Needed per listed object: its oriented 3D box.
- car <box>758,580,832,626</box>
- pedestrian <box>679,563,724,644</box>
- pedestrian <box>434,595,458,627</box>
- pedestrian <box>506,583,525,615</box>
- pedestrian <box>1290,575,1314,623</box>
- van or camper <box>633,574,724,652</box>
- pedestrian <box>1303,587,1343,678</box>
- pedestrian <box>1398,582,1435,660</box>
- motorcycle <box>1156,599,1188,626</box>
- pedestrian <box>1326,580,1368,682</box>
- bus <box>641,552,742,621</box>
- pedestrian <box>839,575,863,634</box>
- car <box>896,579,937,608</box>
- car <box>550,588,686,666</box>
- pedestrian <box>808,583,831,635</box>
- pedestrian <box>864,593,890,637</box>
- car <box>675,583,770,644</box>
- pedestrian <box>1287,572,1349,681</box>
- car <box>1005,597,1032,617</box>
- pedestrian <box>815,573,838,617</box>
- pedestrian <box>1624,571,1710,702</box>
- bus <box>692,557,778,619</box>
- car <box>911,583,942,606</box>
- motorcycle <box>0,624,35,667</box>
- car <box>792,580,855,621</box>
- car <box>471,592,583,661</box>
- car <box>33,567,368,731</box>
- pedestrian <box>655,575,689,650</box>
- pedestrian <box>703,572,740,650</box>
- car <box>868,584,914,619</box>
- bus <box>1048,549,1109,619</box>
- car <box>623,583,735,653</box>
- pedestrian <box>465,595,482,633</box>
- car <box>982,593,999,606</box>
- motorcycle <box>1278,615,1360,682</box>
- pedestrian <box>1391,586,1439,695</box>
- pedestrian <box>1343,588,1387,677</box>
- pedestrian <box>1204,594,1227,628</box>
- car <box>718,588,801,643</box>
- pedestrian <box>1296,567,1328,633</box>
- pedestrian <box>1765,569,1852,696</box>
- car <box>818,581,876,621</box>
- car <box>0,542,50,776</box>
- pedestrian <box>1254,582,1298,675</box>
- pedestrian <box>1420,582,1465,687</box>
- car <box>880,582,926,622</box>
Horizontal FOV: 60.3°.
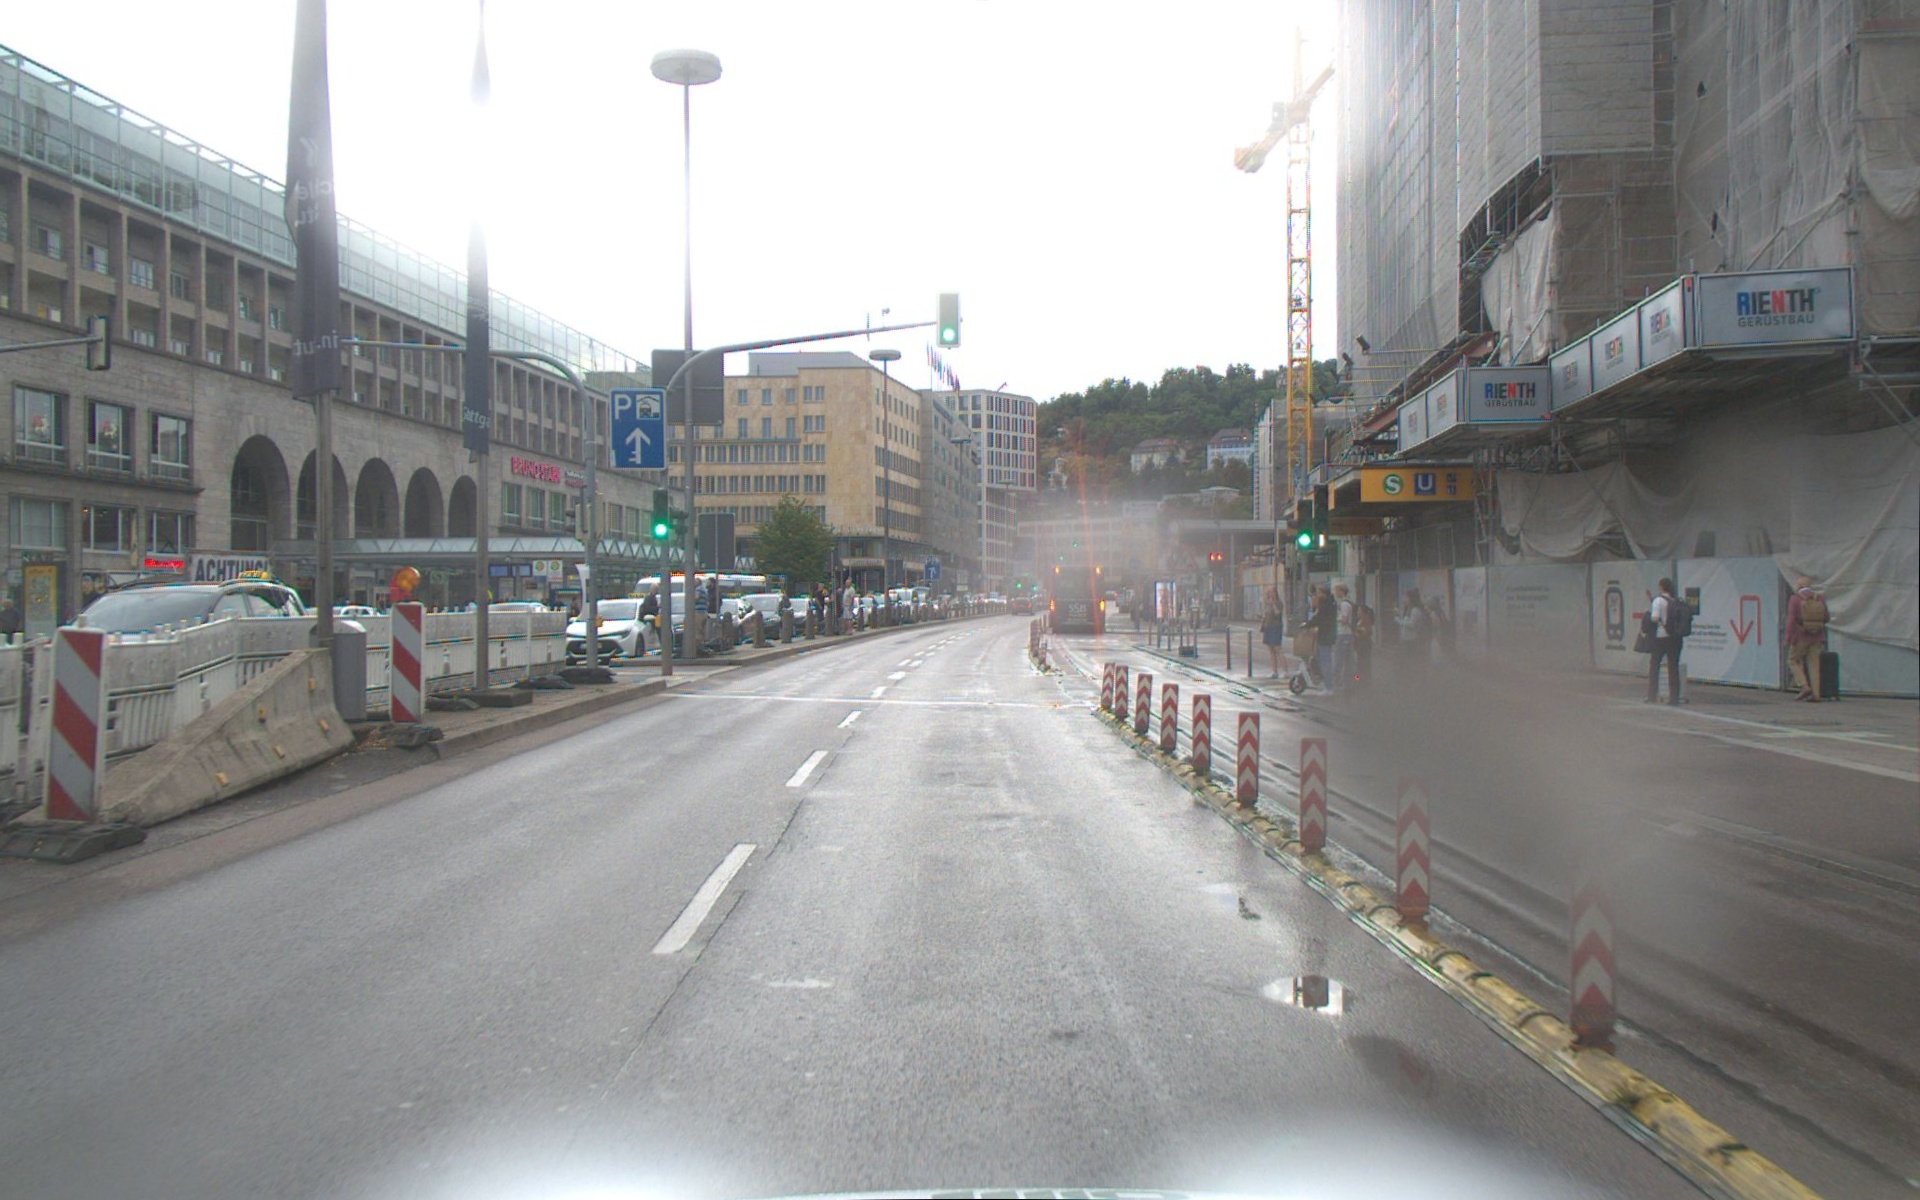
[{"bbox_3d":[-6.208,0.081,62.786,1.889,1.604,5.263,-2,0,4],"label":"car"},{"bbox_3d":[-5.920,0.074,37.881,0.549,1.806,0.749,-3,1,38],"label":"pedestrian"},{"bbox_3d":[-22.981,0.497,73.973,0.911,1.417,0.698,0,1,-26],"label":"pedestrian"},{"bbox_3d":[-19.489,-0.042,72.502,0.696,1.417,0.698,0,1,-25],"label":"pedestrian"},{"bbox_3d":[11.566,-0.028,55.986,0.637,1.566,0.665,-3,0,5],"label":"pedestrian"},{"bbox_3d":[-10.006,0.401,59.158,1.952,2.557,5.372,-3,1,3],"label":"van or camper"},{"bbox_3d":[6.819,0.601,31.088,0.546,1.669,0.752,-3,0,5],"label":"pedestrian"},{"bbox_3d":[10.108,0.449,36.647,0.538,1.660,0.996,-3,0,4],"label":"pedestrian"},{"bbox_3d":[9.446,0.547,73.701,0.576,1.186,1.607,1,0,43],"label":"motorcycle"},{"bbox_3d":[6.911,0.546,29.558,0.546,1.782,0.712,-3,0,5],"label":"pedestrian"},{"bbox_3d":[-14.209,-0.747,88.370,2.816,3.435,10.581,0,1,5],"label":"bus"},{"bbox_3d":[-3.830,0.151,58.121,0.707,2.042,0.773,1,1,4],"label":"pedestrian"},{"bbox_3d":[-2.679,-0.424,103.469,1.951,1.752,4.785,-1,1,6],"label":"car"},{"bbox_3d":[-7.865,0.572,38.498,1.973,1.649,4.844,-1,1,2],"label":"car"},{"bbox_3d":[-4.949,0.306,58.191,0.684,1.785,0.712,0,1,4],"label":"pedestrian"},{"bbox_3d":[-3.452,0.615,68.984,1.028,1.799,0.617,-1,0,4],"label":"pedestrian"},{"bbox_3d":[-7.181,0.375,50.496,1.889,1.720,4.684,-2,0,4],"label":"car"},{"bbox_3d":[5.886,0.424,27.215,0.576,1.771,0.810,-1,1,-38],"label":"pedestrian"},{"bbox_3d":[4.960,0.591,140.113,1.951,1.579,4.003,-1,0,6],"label":"car"},{"bbox_3d":[-4.996,-0.200,61.882,0.707,1.634,0.996,1,1,4],"label":"pedestrian"},{"bbox_3d":[9.656,0.483,22.630,0.720,1.706,0.958,-3,0,3],"label":"pedestrian"},{"bbox_3d":[-13.338,-0.742,98.930,2.816,3.520,10.581,0,1,5],"label":"bus"},{"bbox_3d":[-2.333,-0.416,116.386,1.952,1.579,4.001,-1,0,2],"label":"car"},{"bbox_3d":[-24.734,1.158,42.659,1.411,1.076,0.602,1,1,-7],"label":"motorcycle"},{"bbox_3d":[-5.687,-0.003,69.288,1.889,1.604,5.015,-2,0,3],"label":"car"},{"bbox_3d":[-11.377,0.652,43.694,1.776,1.638,4.045,1,1,2],"label":"car"},{"bbox_3d":[-8.973,0.483,20.037,1.863,1.729,4.501,1,1,2],"label":"car"},{"bbox_3d":[-6.728,0.285,38.667,0.637,1.741,0.593,1,1,2],"label":"pedestrian"},{"bbox_3d":[-5.677,0.255,39.409,0.767,1.806,0.605,-3,0,-8],"label":"pedestrian"},{"bbox_3d":[-3.832,0.082,92.228,1.889,1.837,4.585,-2,0,5],"label":"car"},{"bbox_3d":[5.761,-0.759,79.534,2.697,3.122,9.085,1,0,5],"label":"bus"},{"bbox_3d":[-7.518,0.455,44.728,1.889,1.720,4.684,-2,0,4],"label":"car"},{"bbox_3d":[-20.374,0.583,69.305,0.576,1.533,0.621,0,1,-25],"label":"pedestrian"},{"bbox_3d":[4.195,-0.088,223.875,1.921,1.591,4.839,-3,1,5],"label":"car"},{"bbox_3d":[5.898,0.787,27.207,0.580,1.039,1.223,-1,1,-38],"label":"motorcycle"},{"bbox_3d":[7.220,0.639,26.266,0.546,1.679,0.615,-3,0,5],"label":"pedestrian"},{"bbox_3d":[6.918,0.548,28.264,0.546,1.474,0.712,-3,0,5],"label":"pedestrian"},{"bbox_3d":[12.590,0.523,81.501,0.890,1.663,0.826,0,0,32],"label":"pedestrian"},{"bbox_3d":[-6.723,0.479,55.887,1.889,1.720,4.684,-2,0,4],"label":"car"},{"bbox_3d":[10.284,-0.001,48.312,0.708,1.879,0.811,-3,0,4],"label":"pedestrian"},{"bbox_3d":[11.691,0.432,22.821,0.717,1.711,1.110,-1,1,6],"label":"pedestrian"},{"bbox_3d":[-5.103,0.007,75.417,1.935,1.688,5.195,-2,0,3],"label":"car"},{"bbox_3d":[-8.898,0.506,12.104,1.863,1.931,4.524,1,1,2],"label":"car"},{"bbox_3d":[6.244,0.552,32.735,0.548,1.789,0.750,-3,0,-9],"label":"pedestrian"},{"bbox_3d":[7.935,0.557,27.225,0.552,1.679,0.615,-3,0,9],"label":"pedestrian"},{"bbox_3d":[-3.340,0.094,98.141,1.951,2.216,5.548,-1,1,5],"label":"car"}]
